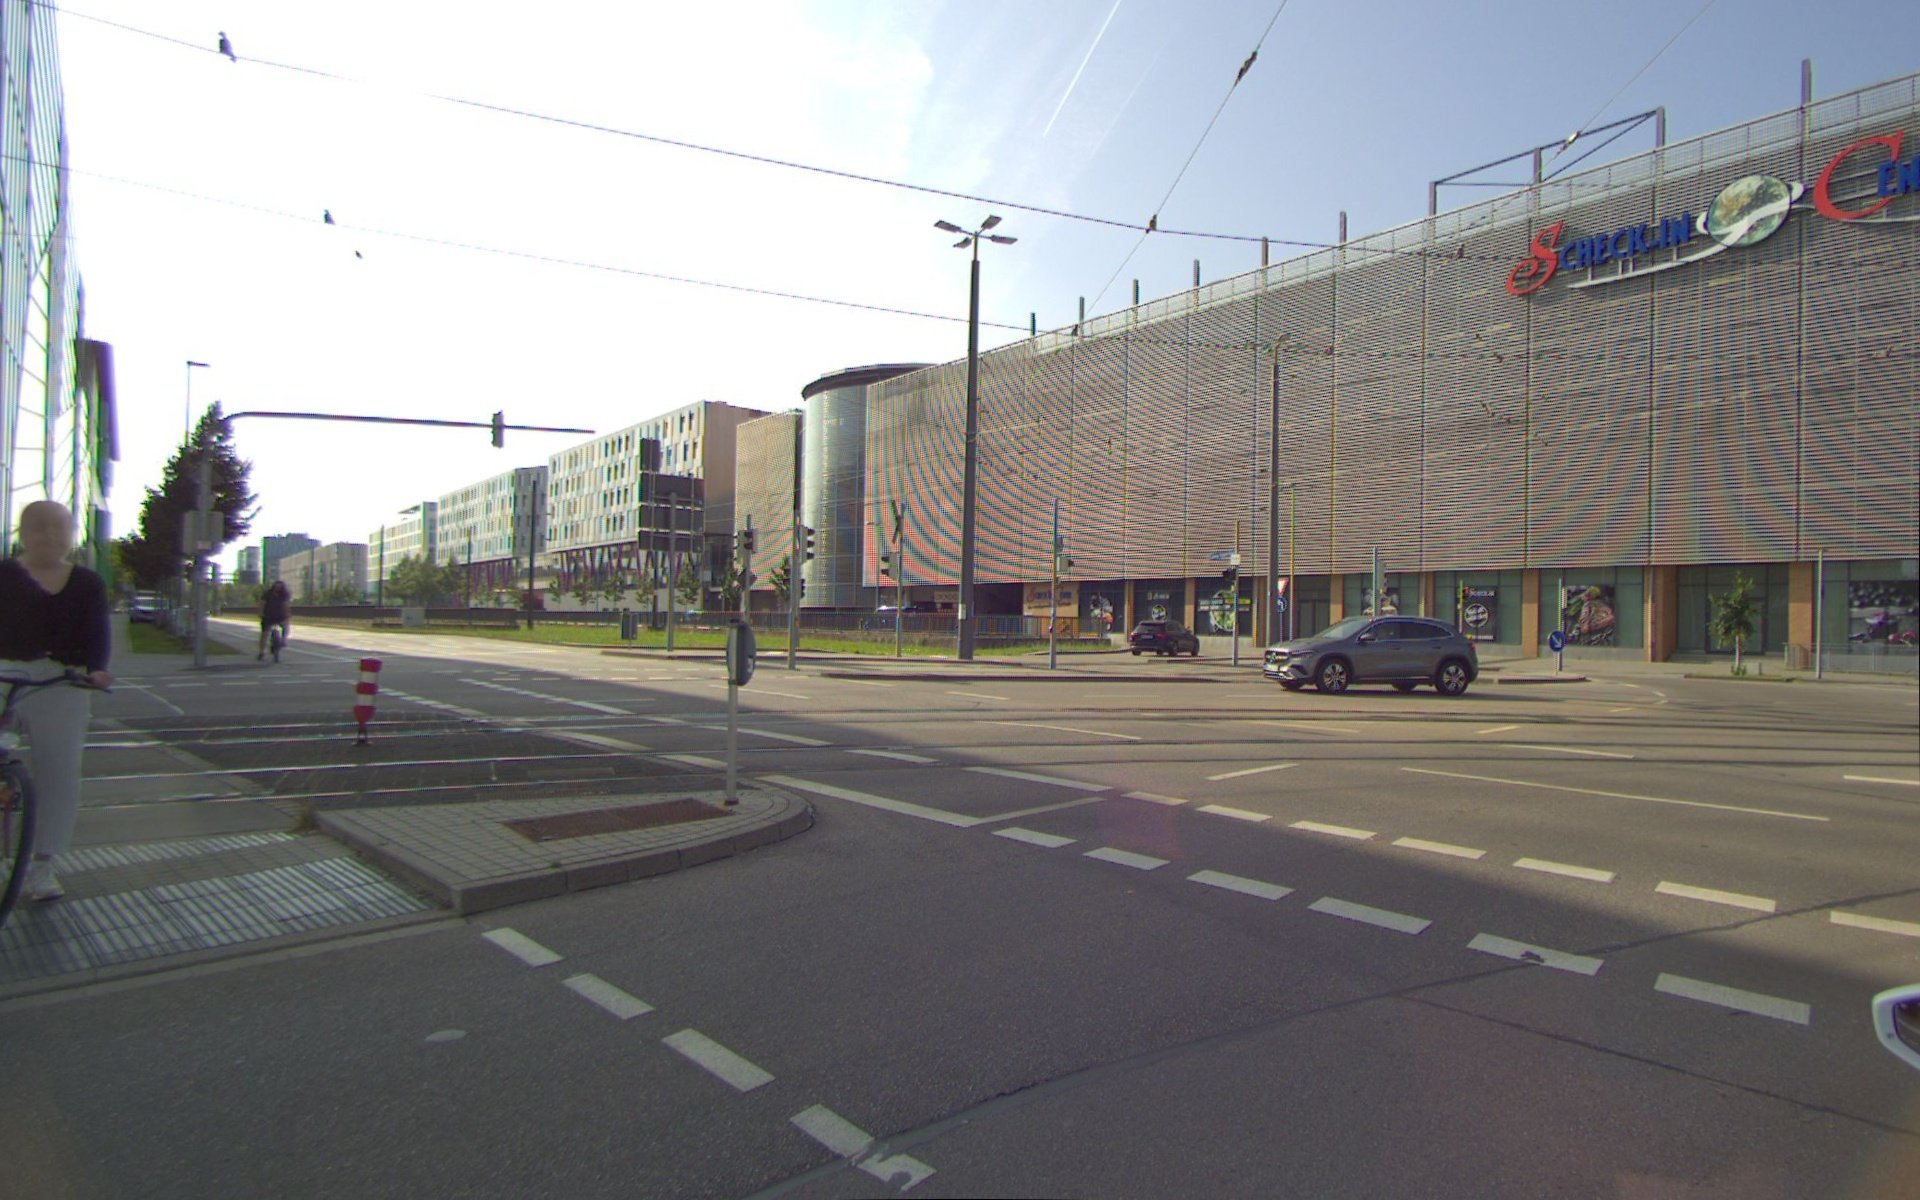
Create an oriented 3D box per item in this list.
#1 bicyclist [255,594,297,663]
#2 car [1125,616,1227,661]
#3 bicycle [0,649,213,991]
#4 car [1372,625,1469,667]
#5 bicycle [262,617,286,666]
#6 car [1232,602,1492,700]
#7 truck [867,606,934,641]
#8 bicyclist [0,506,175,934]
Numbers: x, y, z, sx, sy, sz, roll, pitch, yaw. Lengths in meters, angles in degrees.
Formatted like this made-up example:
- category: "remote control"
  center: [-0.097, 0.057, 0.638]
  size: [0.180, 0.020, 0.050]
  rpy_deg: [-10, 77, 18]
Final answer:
- category: "bicyclist"
  center: [-16.442, 0.671, 24.150]
  size: [0.776, 1.607, 0.923]
  rpy_deg: [3, 0, -34]
- category: "car"
  center: [8.857, 1.559, 41.055]
  size: [3.965, 1.718, 1.978]
  rpy_deg: [2, -1, -38]
- category: "bicycle"
  center: [-3.919, 0.818, 4.341]
  size: [1.777, 1.113, 0.667]
  rpy_deg: [2, 0, 39]
- category: "car"
  center: [19.805, 1.971, 43.231]
  size: [1.730, 1.580, 3.361]
  rpy_deg: [3, -1, -41]
- category: "bicycle"
  center: [-16.483, 0.987, 24.144]
  size: [0.415, 1.070, 1.941]
  rpy_deg: [3, 0, -34]
- category: "car"
  center: [8.374, 1.049, 21.080]
  size: [4.730, 1.807, 1.951]
  rpy_deg: [3, 0, -11]
- category: "truck"
  center: [-4.191, 1.630, 70.158]
  size: [4.490, 2.352, 2.194]
  rpy_deg: [0, -2, 45]
- category: "bicyclist"
  center: [-3.977, 0.486, 4.405]
  size: [0.627, 1.725, 0.667]
  rpy_deg: [2, 0, 39]
